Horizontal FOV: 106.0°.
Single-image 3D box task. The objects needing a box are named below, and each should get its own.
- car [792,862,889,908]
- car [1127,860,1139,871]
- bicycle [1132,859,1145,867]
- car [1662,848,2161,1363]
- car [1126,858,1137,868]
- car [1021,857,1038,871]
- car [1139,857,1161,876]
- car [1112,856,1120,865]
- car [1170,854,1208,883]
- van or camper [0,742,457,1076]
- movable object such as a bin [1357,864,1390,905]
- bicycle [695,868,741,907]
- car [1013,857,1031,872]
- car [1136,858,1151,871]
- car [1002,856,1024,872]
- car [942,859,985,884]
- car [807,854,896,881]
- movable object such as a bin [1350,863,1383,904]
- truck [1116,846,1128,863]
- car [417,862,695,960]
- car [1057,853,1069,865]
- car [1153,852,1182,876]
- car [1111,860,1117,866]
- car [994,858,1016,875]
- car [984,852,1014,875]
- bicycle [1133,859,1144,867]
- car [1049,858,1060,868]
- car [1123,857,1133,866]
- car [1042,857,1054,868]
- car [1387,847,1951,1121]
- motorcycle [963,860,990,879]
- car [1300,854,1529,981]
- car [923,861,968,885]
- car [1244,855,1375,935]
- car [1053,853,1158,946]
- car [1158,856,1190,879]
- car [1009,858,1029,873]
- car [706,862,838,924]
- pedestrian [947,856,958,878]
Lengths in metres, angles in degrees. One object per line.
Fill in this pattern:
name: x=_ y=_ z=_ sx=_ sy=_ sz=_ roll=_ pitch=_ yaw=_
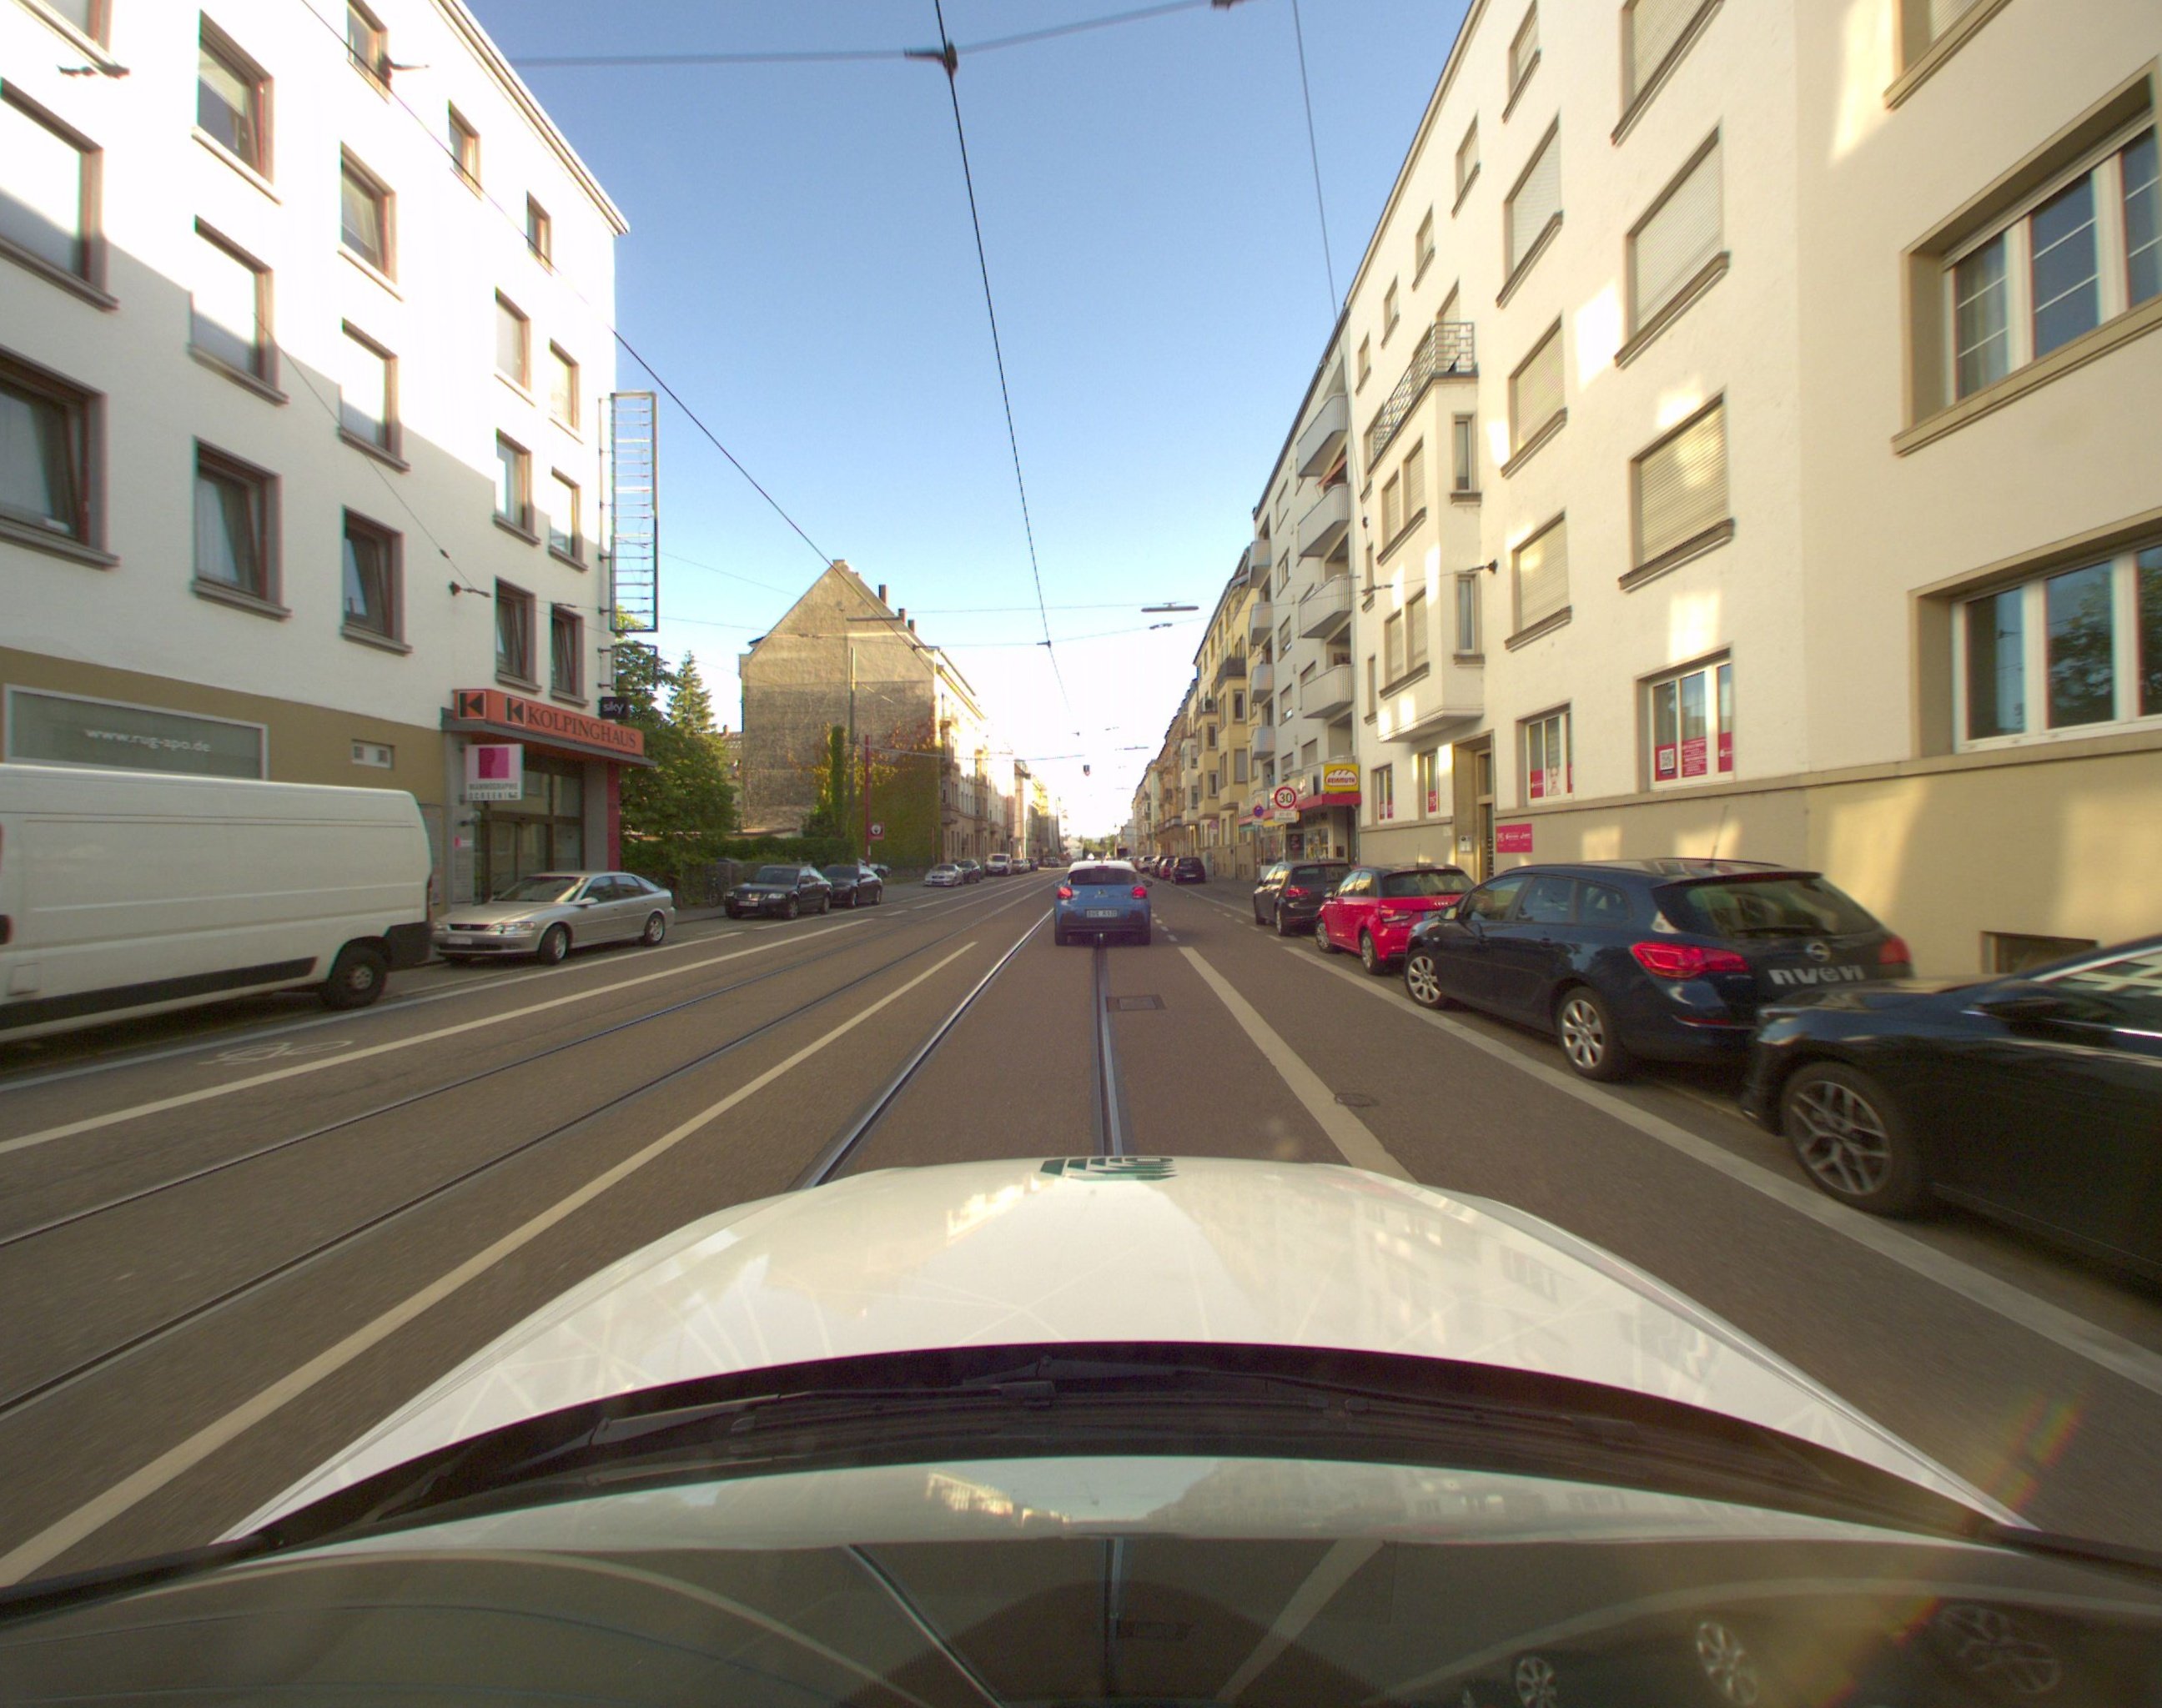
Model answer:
car: x=-8.334 y=1.026 z=28.720 sx=1.776 sy=1.446 sz=4.844 roll=1 pitch=0 yaw=2
car: x=8.382 y=1.868 z=132.157 sx=1.777 sy=1.632 sz=4.002 roll=-1 pitch=-1 yaw=2
bicycle: x=8.860 y=1.356 z=124.976 sx=1.836 sy=1.154 sz=0.469 roll=-4 pitch=-1 yaw=1
car: x=4.218 y=0.763 z=2.295 sx=1.852 sy=1.507 sz=4.505 roll=-3 pitch=-1 yaw=-1
car: x=8.528 y=1.558 z=138.144 sx=1.777 sy=1.576 sz=4.328 roll=-1 pitch=-1 yaw=2
car: x=-6.176 y=1.183 z=97.763 sx=1.776 sy=1.553 sz=3.020 roll=1 pitch=0 yaw=2
car: x=6.521 y=1.154 z=77.168 sx=1.836 sy=1.691 sz=4.507 roll=-1 pitch=0 yaw=2
car: x=7.683 y=1.491 z=180.274 sx=1.814 sy=1.894 sz=4.002 roll=0 pitch=0 yaw=2
car: x=6.000 y=0.793 z=45.702 sx=1.712 sy=1.491 sz=4.003 roll=-2 pitch=0 yaw=2
van or camper: x=-9.025 y=0.392 z=7.133 sx=2.164 sy=2.467 sz=6.233 roll=1 pitch=0 yaw=1
movable object such as a bin: x=7.664 y=0.793 z=21.357 sx=0.673 sy=1.072 sz=0.569 roll=0 pitch=-1 yaw=0
bicycle: x=-11.321 y=1.021 z=25.481 sx=0.438 sy=1.175 sz=2.051 roll=0 pitch=-1 yaw=3
car: x=-6.650 y=1.141 z=91.955 sx=1.777 sy=1.622 sz=4.178 roll=1 pitch=0 yaw=0
car: x=7.534 y=1.243 z=98.674 sx=1.746 sy=1.594 sz=3.732 roll=-1 pitch=0 yaw=3
car: x=-6.744 y=1.027 z=81.461 sx=1.777 sy=1.523 sz=4.360 roll=1 pitch=0 yaw=1
car: x=-7.602 y=1.108 z=53.099 sx=1.775 sy=1.565 sz=4.615 roll=1 pitch=0 yaw=4
car: x=-13.724 y=0.780 z=48.774 sx=4.813 sy=1.518 sz=1.980 roll=0 pitch=-1 yaw=-32
movable object such as a bin: x=7.690 y=0.782 z=21.960 sx=0.673 sy=1.072 sz=0.569 roll=0 pitch=-1 yaw=0
truck: x=10.339 y=0.123 z=203.203 sx=2.841 sy=4.083 sz=11.278 roll=-1 pitch=-1 yaw=3
car: x=-8.835 y=0.863 z=14.293 sx=1.776 sy=1.398 sz=4.448 roll=1 pitch=0 yaw=3
car: x=-3.674 y=1.009 z=167.429 sx=2.138 sy=2.475 sz=4.979 roll=1 pitch=0 yaw=0
car: x=6.406 y=0.748 z=60.740 sx=1.851 sy=1.665 sz=4.565 roll=-1 pitch=0 yaw=3
car: x=9.550 y=2.619 z=236.363 sx=1.758 sy=1.487 sz=4.033 roll=-1 pitch=-1 yaw=2
car: x=-7.111 y=1.168 z=76.885 sx=1.597 sy=1.473 sz=3.647 roll=1 pitch=0 yaw=2
car: x=-7.154 y=0.805 z=71.459 sx=1.966 sy=1.949 sz=5.252 roll=1 pitch=0 yaw=1
bicycle: x=8.922 y=1.372 z=126.339 sx=1.716 sy=1.154 sz=0.469 roll=-4 pitch=-1 yaw=1
car: x=-4.629 y=1.586 z=143.983 sx=1.777 sy=1.627 sz=4.608 roll=1 pitch=0 yaw=0
car: x=9.313 y=1.482 z=161.355 sx=1.724 sy=1.827 sz=4.688 roll=-1 pitch=-1 yaw=2
car: x=-5.299 y=1.335 z=132.785 sx=1.777 sy=1.690 sz=4.666 roll=1 pitch=0 yaw=0
car: x=4.206 y=0.780 z=6.824 sx=1.849 sy=1.507 sz=4.098 roll=-3 pitch=-1 yaw=3
motorcycle: x=-7.665 y=1.149 z=59.874 sx=0.875 sy=1.351 sz=1.970 roll=0 pitch=-1 yaw=34
car: x=4.641 y=0.794 z=12.026 sx=1.849 sy=1.473 sz=3.991 roll=-3 pitch=-1 yaw=3
car: x=-7.937 y=1.084 z=47.917 sx=1.776 sy=1.314 sz=4.222 roll=1 pitch=0 yaw=2
car: x=4.690 y=0.782 z=17.345 sx=1.703 sy=1.407 sz=4.361 roll=-3 pitch=-1 yaw=3
car: x=0.480 y=0.769 z=15.617 sx=1.728 sy=1.507 sz=3.994 roll=1 pitch=0 yaw=2
car: x=6.131 y=0.878 z=54.274 sx=1.851 sy=1.455 sz=4.713 roll=-1 pitch=0 yaw=3
car: x=-6.596 y=1.179 z=86.752 sx=1.766 sy=1.547 sz=4.364 roll=1 pitch=0 yaw=0
car: x=-8.447 y=1.006 z=22.787 sx=1.777 sy=1.481 sz=4.700 roll=1 pitch=0 yaw=1
pedestrian: x=-9.873 y=1.000 z=62.527 sx=0.677 sy=1.724 sz=0.616 roll=0 pitch=-1 yaw=2
